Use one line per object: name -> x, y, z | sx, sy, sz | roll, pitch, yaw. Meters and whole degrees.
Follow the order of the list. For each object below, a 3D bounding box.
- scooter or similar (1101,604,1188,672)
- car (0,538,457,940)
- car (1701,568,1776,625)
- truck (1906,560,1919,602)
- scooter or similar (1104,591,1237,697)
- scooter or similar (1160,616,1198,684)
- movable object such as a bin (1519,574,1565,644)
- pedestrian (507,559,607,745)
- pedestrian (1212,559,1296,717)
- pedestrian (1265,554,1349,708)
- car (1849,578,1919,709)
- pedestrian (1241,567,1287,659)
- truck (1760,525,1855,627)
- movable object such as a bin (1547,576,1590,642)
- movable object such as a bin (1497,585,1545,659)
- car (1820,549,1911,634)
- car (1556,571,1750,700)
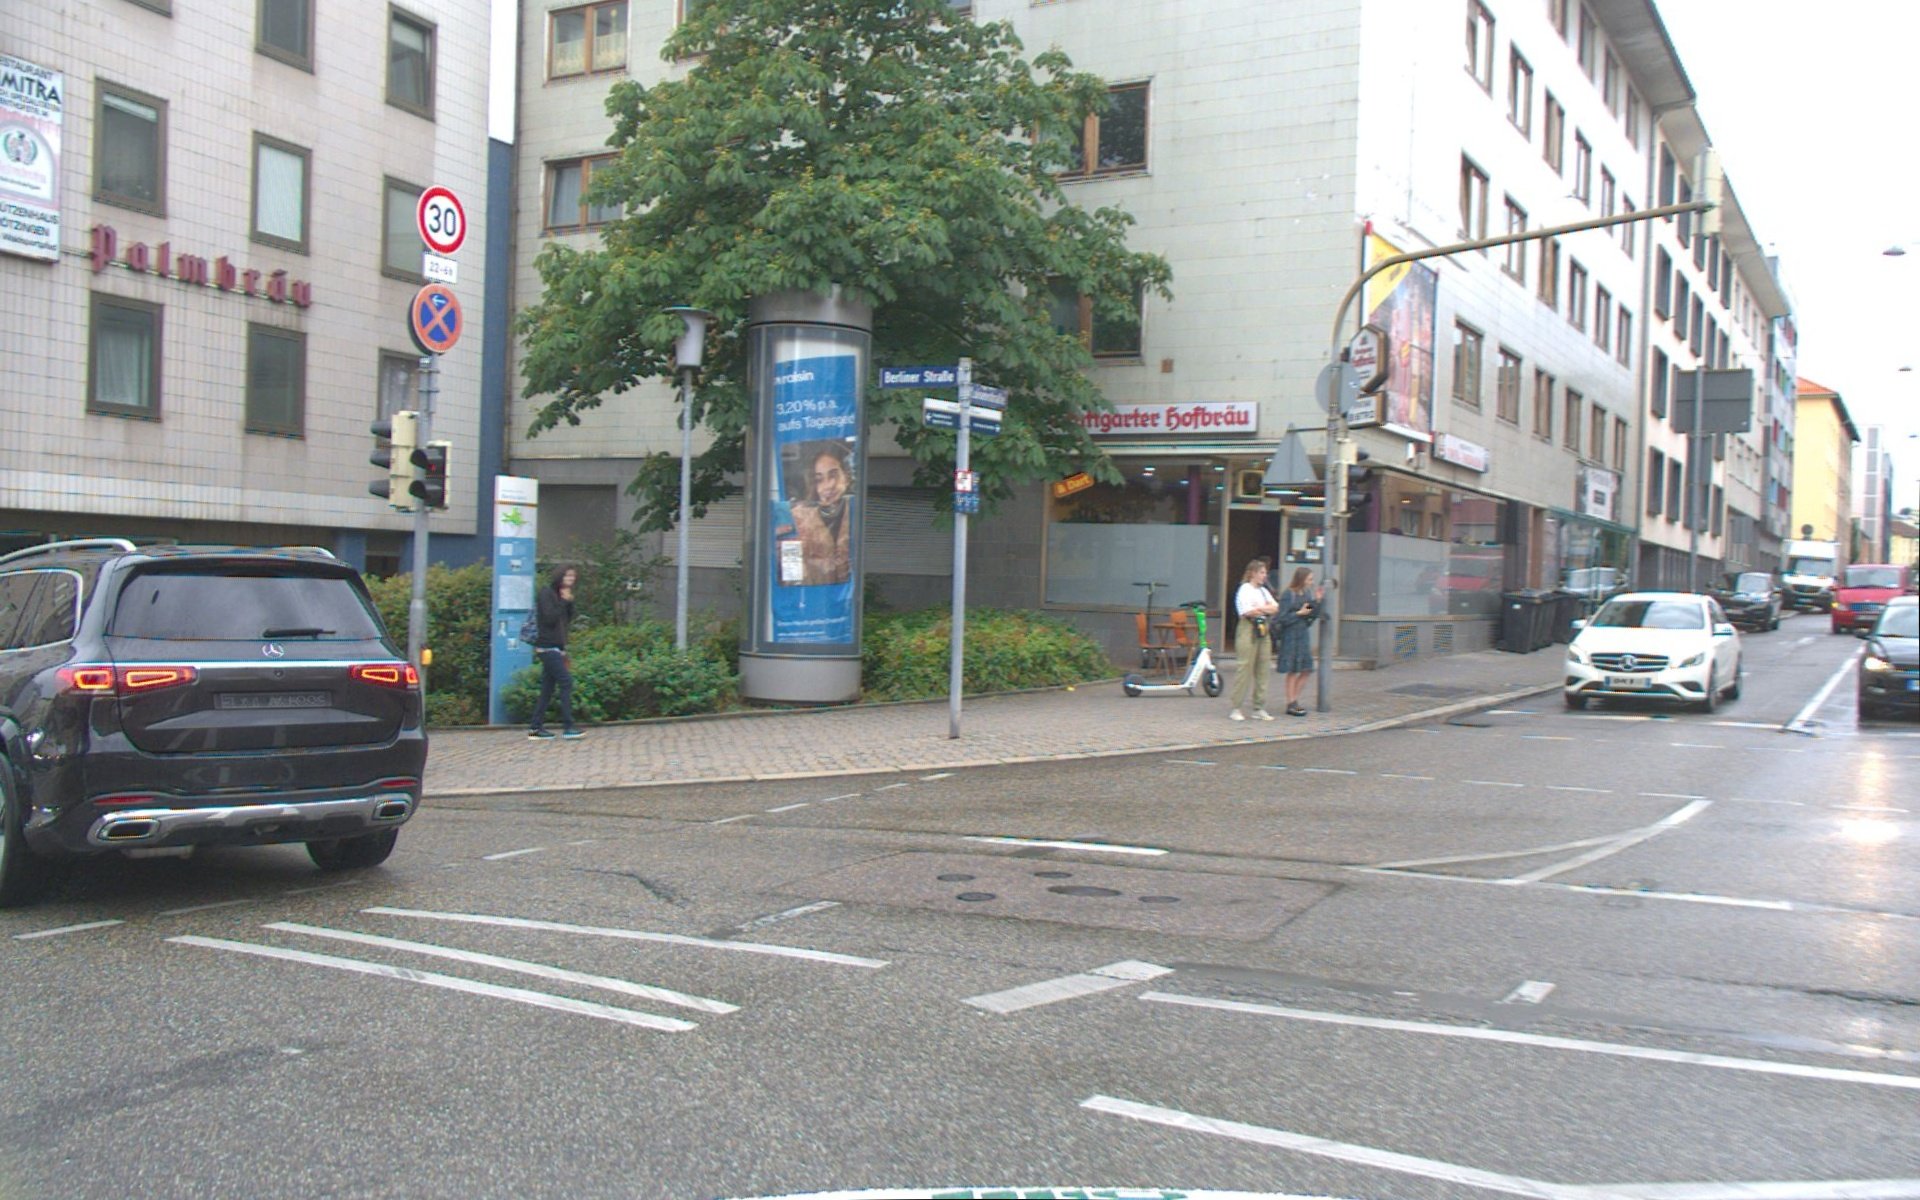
scooter or similar -> 2.517, 0.510, 22.709 | 0.540, 0.857, 1.456 | 3, -1, -22
car -> -4.933, 0.649, 9.726 | 2.010, 1.770, 4.673 | 0, -1, -42
car -> 23.264, -0.076, 49.370 | 1.691, 1.631, 3.992 | 0, -1, 30
truck -> 97.232, -1.860, 166.782 | 2.758, 3.899, 8.121 | 2, -1, 32
scooter or similar -> 2.556, 0.533, 20.204 | 1.524, 1.211, 0.501 | 3, -1, 2
scooter or similar -> 2.938, 0.661, 22.133 | 0.449, 0.857, 1.323 | 2, -1, 8
movable object such as a bin -> 11.470, 0.178, 32.598 | 0.684, 1.338, 0.781 | 2, -1, 30
pedestrian -> -4.178, 0.512, 17.126 | 0.745, 1.849, 0.908 | -2, 2, -31
pedestrian -> 3.215, 0.401, 18.142 | 0.694, 1.675, 0.758 | 1, 3, -5
pedestrian -> 3.904, 0.333, 18.644 | 0.694, 1.675, 0.758 | 1, 3, -5
car -> 12.256, 0.516, 20.691 | 1.810, 1.515, 3.991 | -1, -1, 31
pedestrian -> 4.819, 0.202, 26.198 | 0.509, 1.424, 0.578 | 2, -1, 27
truck -> 36.149, -0.935, 70.385 | 2.758, 3.899, 8.121 | 2, -1, 32
movable object such as a bin -> 12.849, 0.189, 34.930 | 0.684, 1.338, 0.781 | 2, -1, 30
movable object such as a bin -> 10.511, 0.421, 30.980 | 0.684, 1.338, 0.781 | 2, -1, 30
car -> 25.763, -0.193, 47.002 | 2.027, 2.281, 4.608 | 0, -1, 32
car -> 9.250, 0.449, 21.895 | 1.810, 1.539, 3.991 | -1, -1, 31
